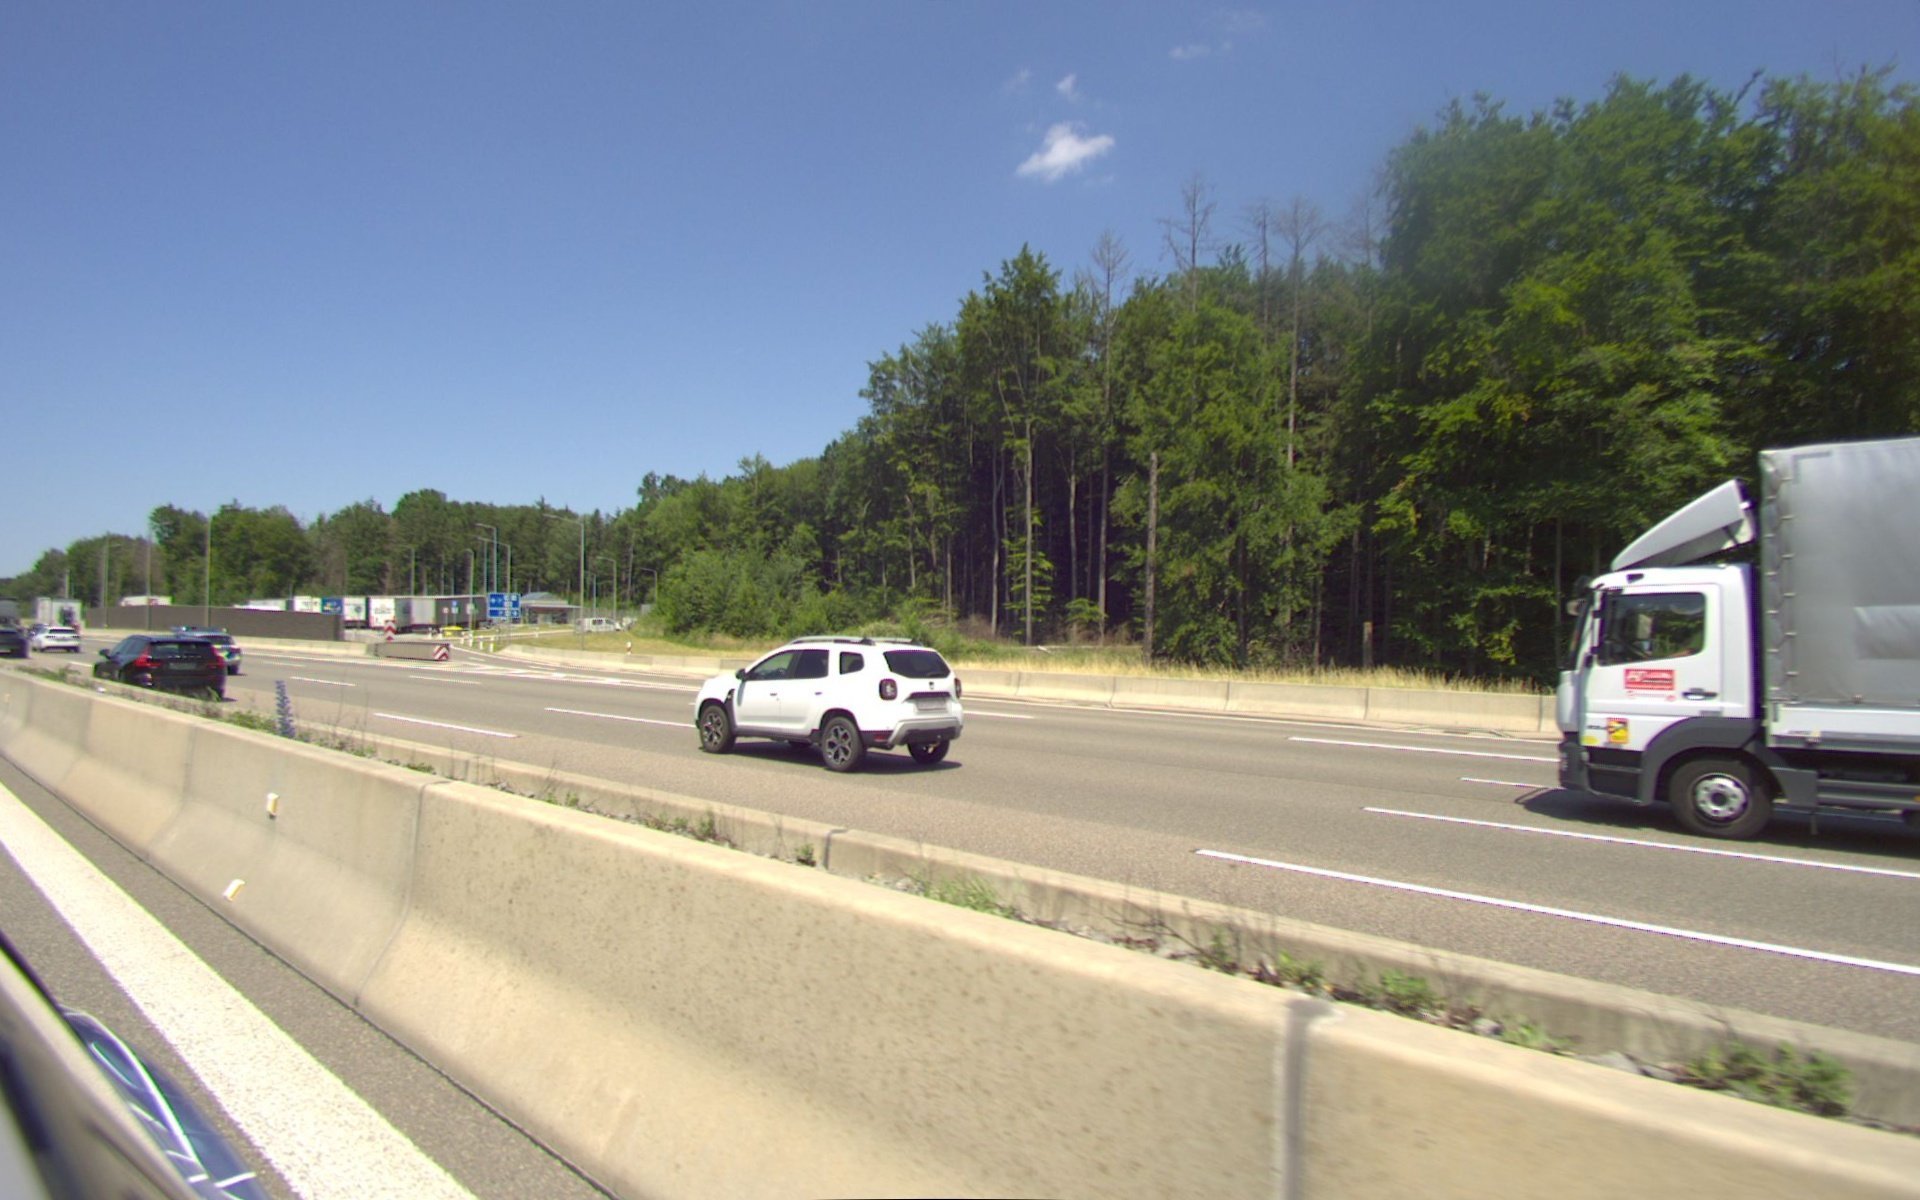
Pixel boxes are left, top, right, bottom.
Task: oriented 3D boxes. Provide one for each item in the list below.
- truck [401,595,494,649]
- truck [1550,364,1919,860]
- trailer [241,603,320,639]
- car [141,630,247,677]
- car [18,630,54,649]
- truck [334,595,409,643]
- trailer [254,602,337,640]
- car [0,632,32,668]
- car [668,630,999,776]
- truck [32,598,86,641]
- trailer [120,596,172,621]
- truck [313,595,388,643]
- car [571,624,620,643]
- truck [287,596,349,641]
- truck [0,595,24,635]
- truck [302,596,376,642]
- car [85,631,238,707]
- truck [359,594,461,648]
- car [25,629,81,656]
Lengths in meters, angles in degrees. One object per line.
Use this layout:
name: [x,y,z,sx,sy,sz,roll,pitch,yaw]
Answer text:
truck: [-58.146,2.602,115.659,3.175,5.655,16.725,1,-2,-4]
truck: [10.318,0.100,7.937,9.463,4.043,2.828,-1,-3,41]
trailer: [-102.831,3.269,153.609,3.082,5.111,14.580,1,-2,-5]
car: [-26.969,1.840,35.573,5.229,1.524,1.893,-1,-4,41]
car: [-79.006,3.358,86.525,3.812,1.498,1.735,-1,-4,40]
truck: [-72.946,2.466,125.830,3.317,5.655,11.549,1,-2,-5]
trailer: [-95.117,3.093,145.341,3.175,5.111,14.580,1,-2,-5]
car: [-43.995,2.252,46.170,4.585,1.475,1.893,0,-2,41]
car: [-1.875,1.278,13.982,4.686,1.674,1.893,-1,-3,41]
truck: [-93.787,2.071,105.295,10.591,4.229,2.805,-1,-2,41]
trailer: [-109.972,1.175,136.606,14.602,3.148,2.941,-1,-2,41]
truck: [-76.386,2.455,127.136,3.179,5.655,11.549,1,-2,-5]
car: [-39.877,3.631,110.838,4.663,2.029,2.091,2,-2,-35]
truck: [-83.727,2.524,132.181,3.179,5.655,8.497,1,-2,-5]
truck: [-95.612,1.476,100.873,7.013,3.870,2.551,-1,-3,41]
truck: [-80.247,2.536,131.089,3.179,5.655,11.549,1,-2,-5]
car: [-17.991,1.478,22.744,4.361,1.475,1.893,0,-2,41]
truck: [-61.598,2.487,114.168,3.399,5.655,16.725,1,-2,-4]
car: [-51.186,2.381,57.065,4.837,1.475,1.742,-1,-2,41]
